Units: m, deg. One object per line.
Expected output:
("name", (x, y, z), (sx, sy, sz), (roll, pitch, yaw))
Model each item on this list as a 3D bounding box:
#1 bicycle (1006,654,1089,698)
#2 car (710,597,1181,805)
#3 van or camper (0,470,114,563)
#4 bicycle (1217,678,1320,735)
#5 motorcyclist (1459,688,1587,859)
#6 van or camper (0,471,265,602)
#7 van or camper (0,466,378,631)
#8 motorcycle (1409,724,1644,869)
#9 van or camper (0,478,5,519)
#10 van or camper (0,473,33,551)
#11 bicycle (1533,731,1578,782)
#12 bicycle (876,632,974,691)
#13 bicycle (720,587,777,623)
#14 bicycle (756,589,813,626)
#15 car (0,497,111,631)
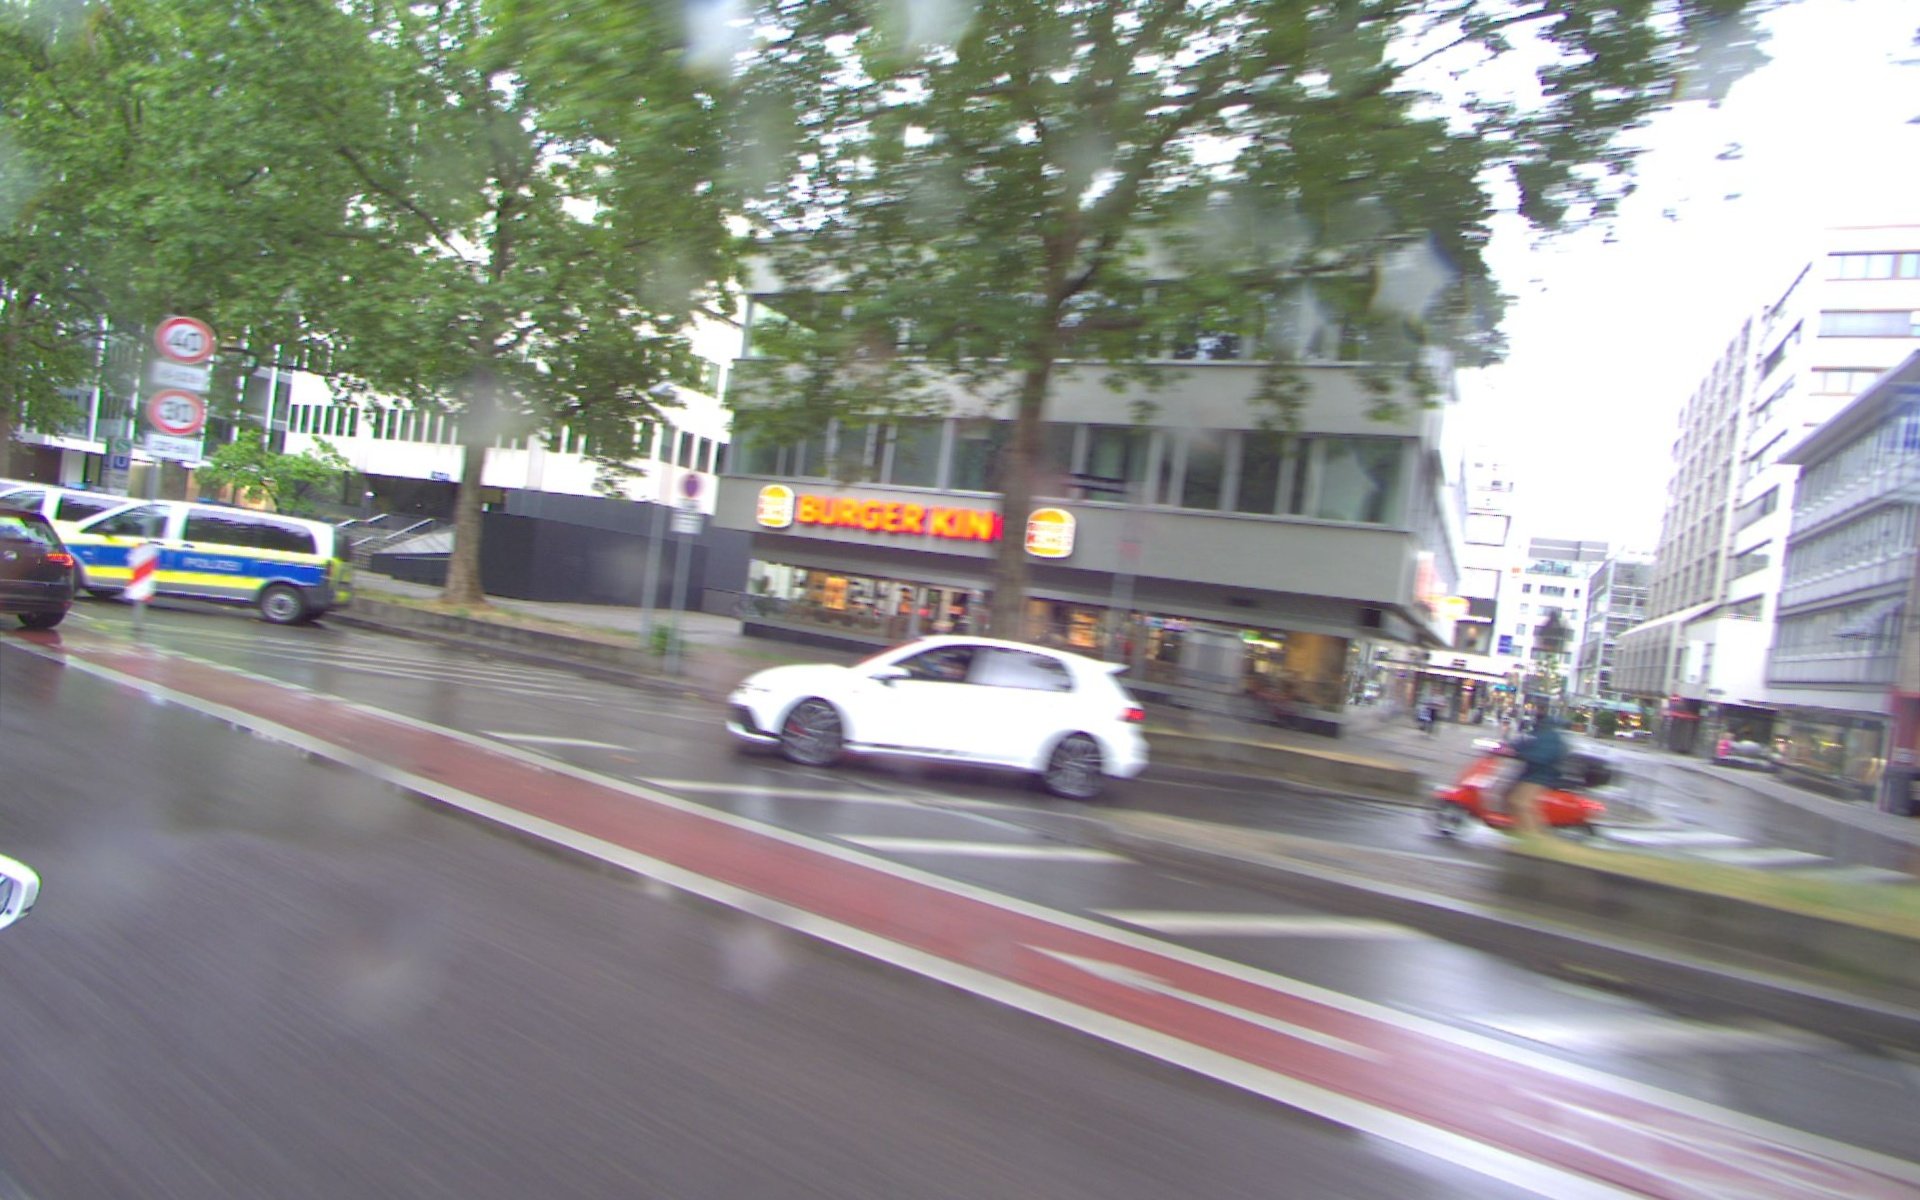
("bicycle", (2.190, 1.892, 25.258), (1.878, 0.829, 0.643), (7, 0, 23))
("car", (-0.187, 1.018, 10.613), (4.432, 1.462, 1.866), (8, -1, -8))
("van or camper", (-24.513, -2.275, 25.014), (4.791, 2.022, 1.858), (8, -1, -22))
("bicycle", (6.924, 2.377, 22.620), (2.040, 0.907, 0.584), (9, 1, 29))
("motorcyclist", (6.192, 1.871, 11.116), (0.855, 1.664, 0.850), (7, 0, 13))
("van or camper", (-18.413, -1.364, 21.788), (5.023, 2.042, 1.987), (9, -2, -23))
("van or camper", (-13.413, -0.814, 17.856), (4.881, 2.015, 1.994), (9, -2, -21))
("motorcycle", (6.184, 2.124, 11.112), (1.983, 1.156, 0.869), (7, -1, 13))
("van or camper", (-30.859, -2.937, 28.496), (4.964, 2.019, 1.987), (8, -1, -27))
("van or camper", (-28.152, -2.687, 26.645), (4.732, 2.034, 1.990), (8, -1, -23))
("bicycle", (12.993, 3.390, 21.915), (0.615, 0.948, 1.968), (7, -1, 35))
("bicycle", (-0.730, 1.255, 20.729), (1.880, 0.934, 0.642), (7, 1, 28))
("bicycle", (-8.464, 0.200, 40.241), (2.249, 1.187, 0.687), (7, 0, 31))
("bicycle", (-7.224, 0.303, 41.310), (2.248, 1.187, 0.688), (7, -1, 29))
("car", (-12.257, -0.615, 11.630), (3.924, 1.430, 1.771), (7, 0, 16))
